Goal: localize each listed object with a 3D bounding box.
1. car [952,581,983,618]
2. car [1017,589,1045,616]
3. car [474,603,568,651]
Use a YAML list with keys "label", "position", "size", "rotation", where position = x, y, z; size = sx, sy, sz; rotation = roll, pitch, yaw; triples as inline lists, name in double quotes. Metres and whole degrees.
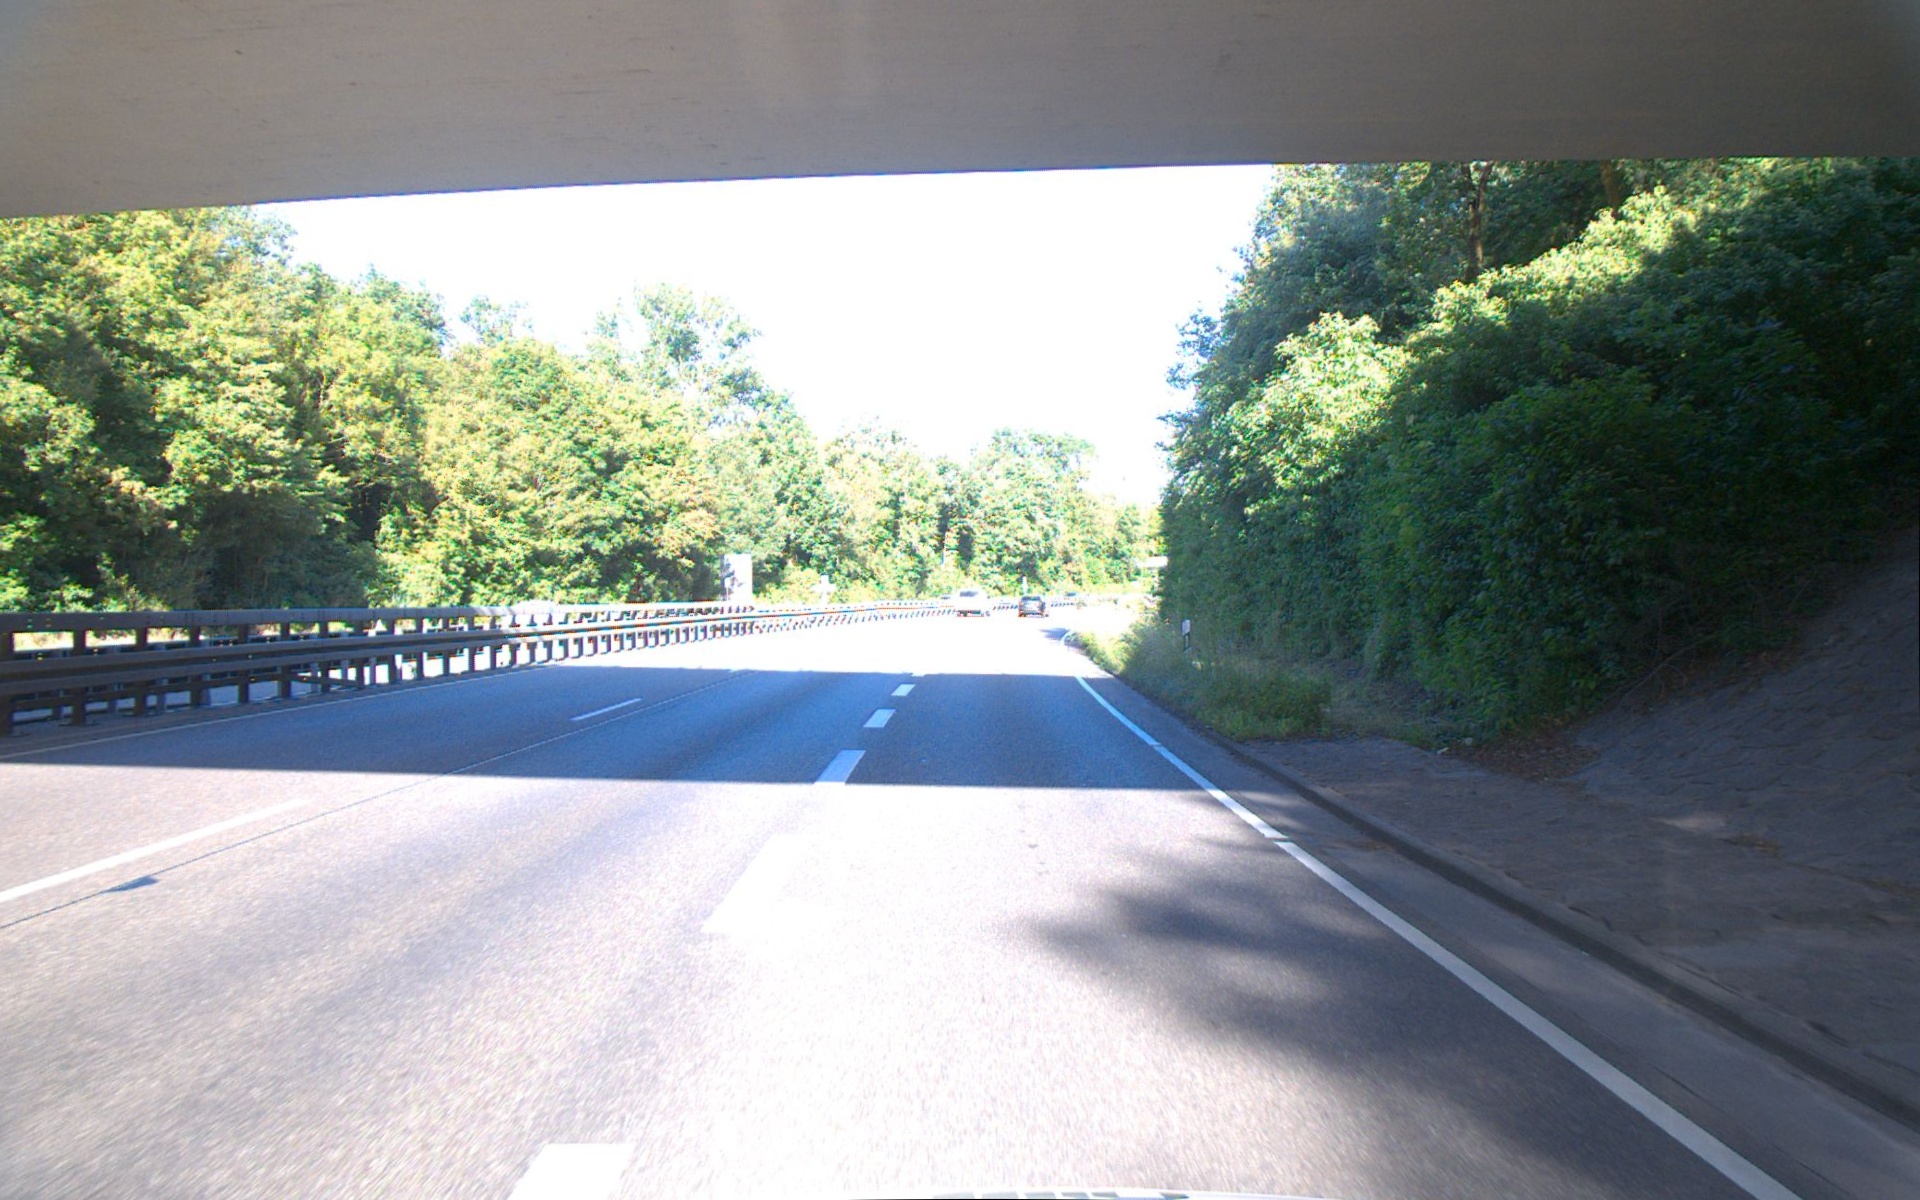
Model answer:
- label: "car"
  position: [0.466, -0.048, 106.764]
  size: [1.953, 2.317, 3.999]
  rotation: [0, 0, -1]
- label: "car"
  position: [4.659, 0.162, 108.361]
  size: [1.702, 1.691, 3.948]
  rotation: [-1, 0, 5]
- label: "car"
  position: [-15.982, 0.952, 60.441]
  size: [1.952, 1.622, 4.730]
  rotation: [1, 0, 3]
